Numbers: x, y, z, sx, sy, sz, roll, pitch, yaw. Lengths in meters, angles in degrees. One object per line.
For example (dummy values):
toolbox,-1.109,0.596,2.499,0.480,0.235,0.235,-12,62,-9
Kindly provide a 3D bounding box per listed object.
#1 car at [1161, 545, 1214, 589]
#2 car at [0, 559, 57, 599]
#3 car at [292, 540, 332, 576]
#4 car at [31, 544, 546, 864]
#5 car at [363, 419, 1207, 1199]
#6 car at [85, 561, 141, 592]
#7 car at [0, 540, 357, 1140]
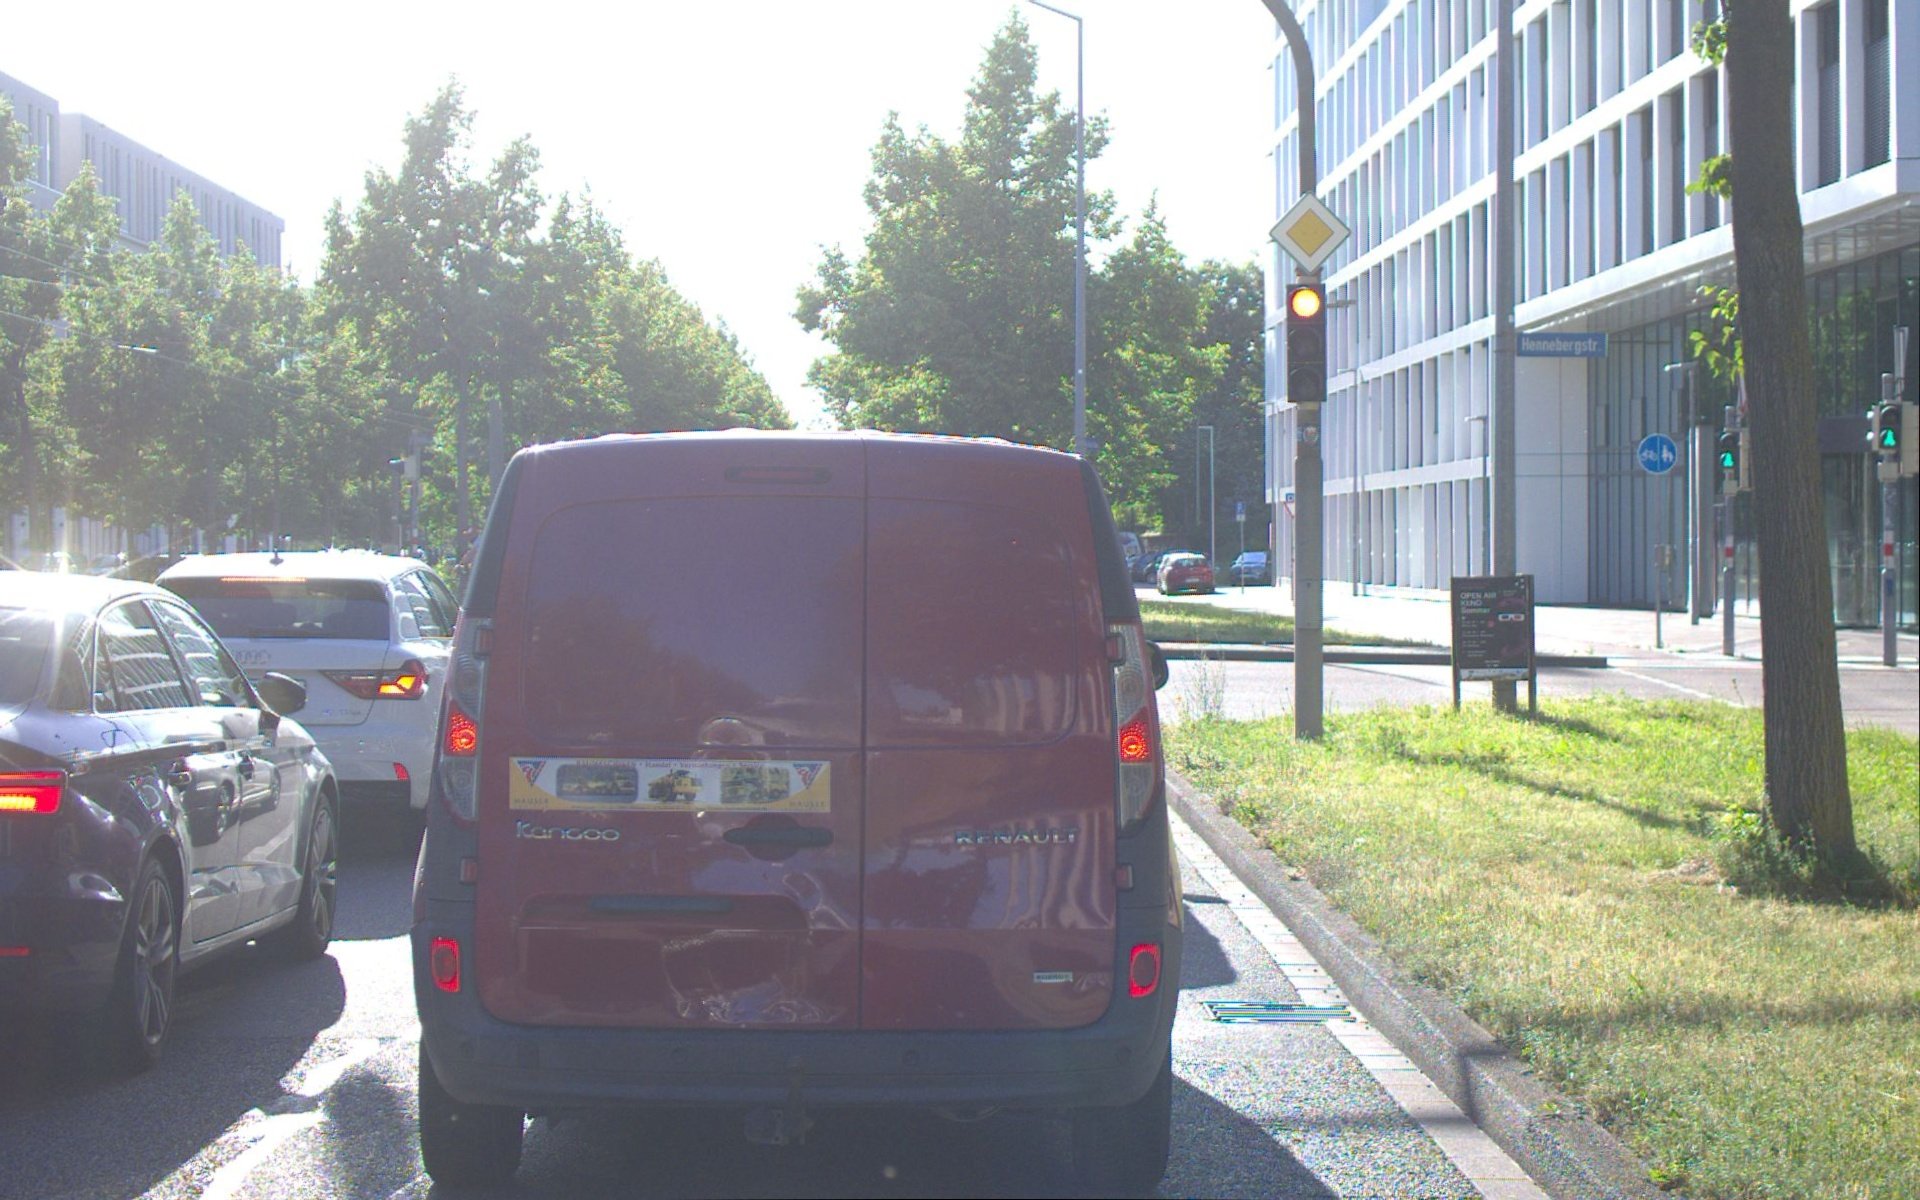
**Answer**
car,8.453,-1.251,127.877,1.758,1.606,3.903,0,1,1
car,-36.859,-0.835,135.142,1.776,1.523,3.806,0,1,-1
car,-37.405,-2.430,198.607,1.728,2.007,4.001,0,1,-3
car,-3.268,0.434,17.515,1.808,1.430,4.113,0,1,0
car,-0.371,0.467,9.432,1.808,1.788,4.113,0,1,0
car,-36.769,-1.037,149.229,1.580,1.337,3.712,0,1,-1
car,-3.165,0.576,10.808,1.808,1.522,4.113,0,1,0
